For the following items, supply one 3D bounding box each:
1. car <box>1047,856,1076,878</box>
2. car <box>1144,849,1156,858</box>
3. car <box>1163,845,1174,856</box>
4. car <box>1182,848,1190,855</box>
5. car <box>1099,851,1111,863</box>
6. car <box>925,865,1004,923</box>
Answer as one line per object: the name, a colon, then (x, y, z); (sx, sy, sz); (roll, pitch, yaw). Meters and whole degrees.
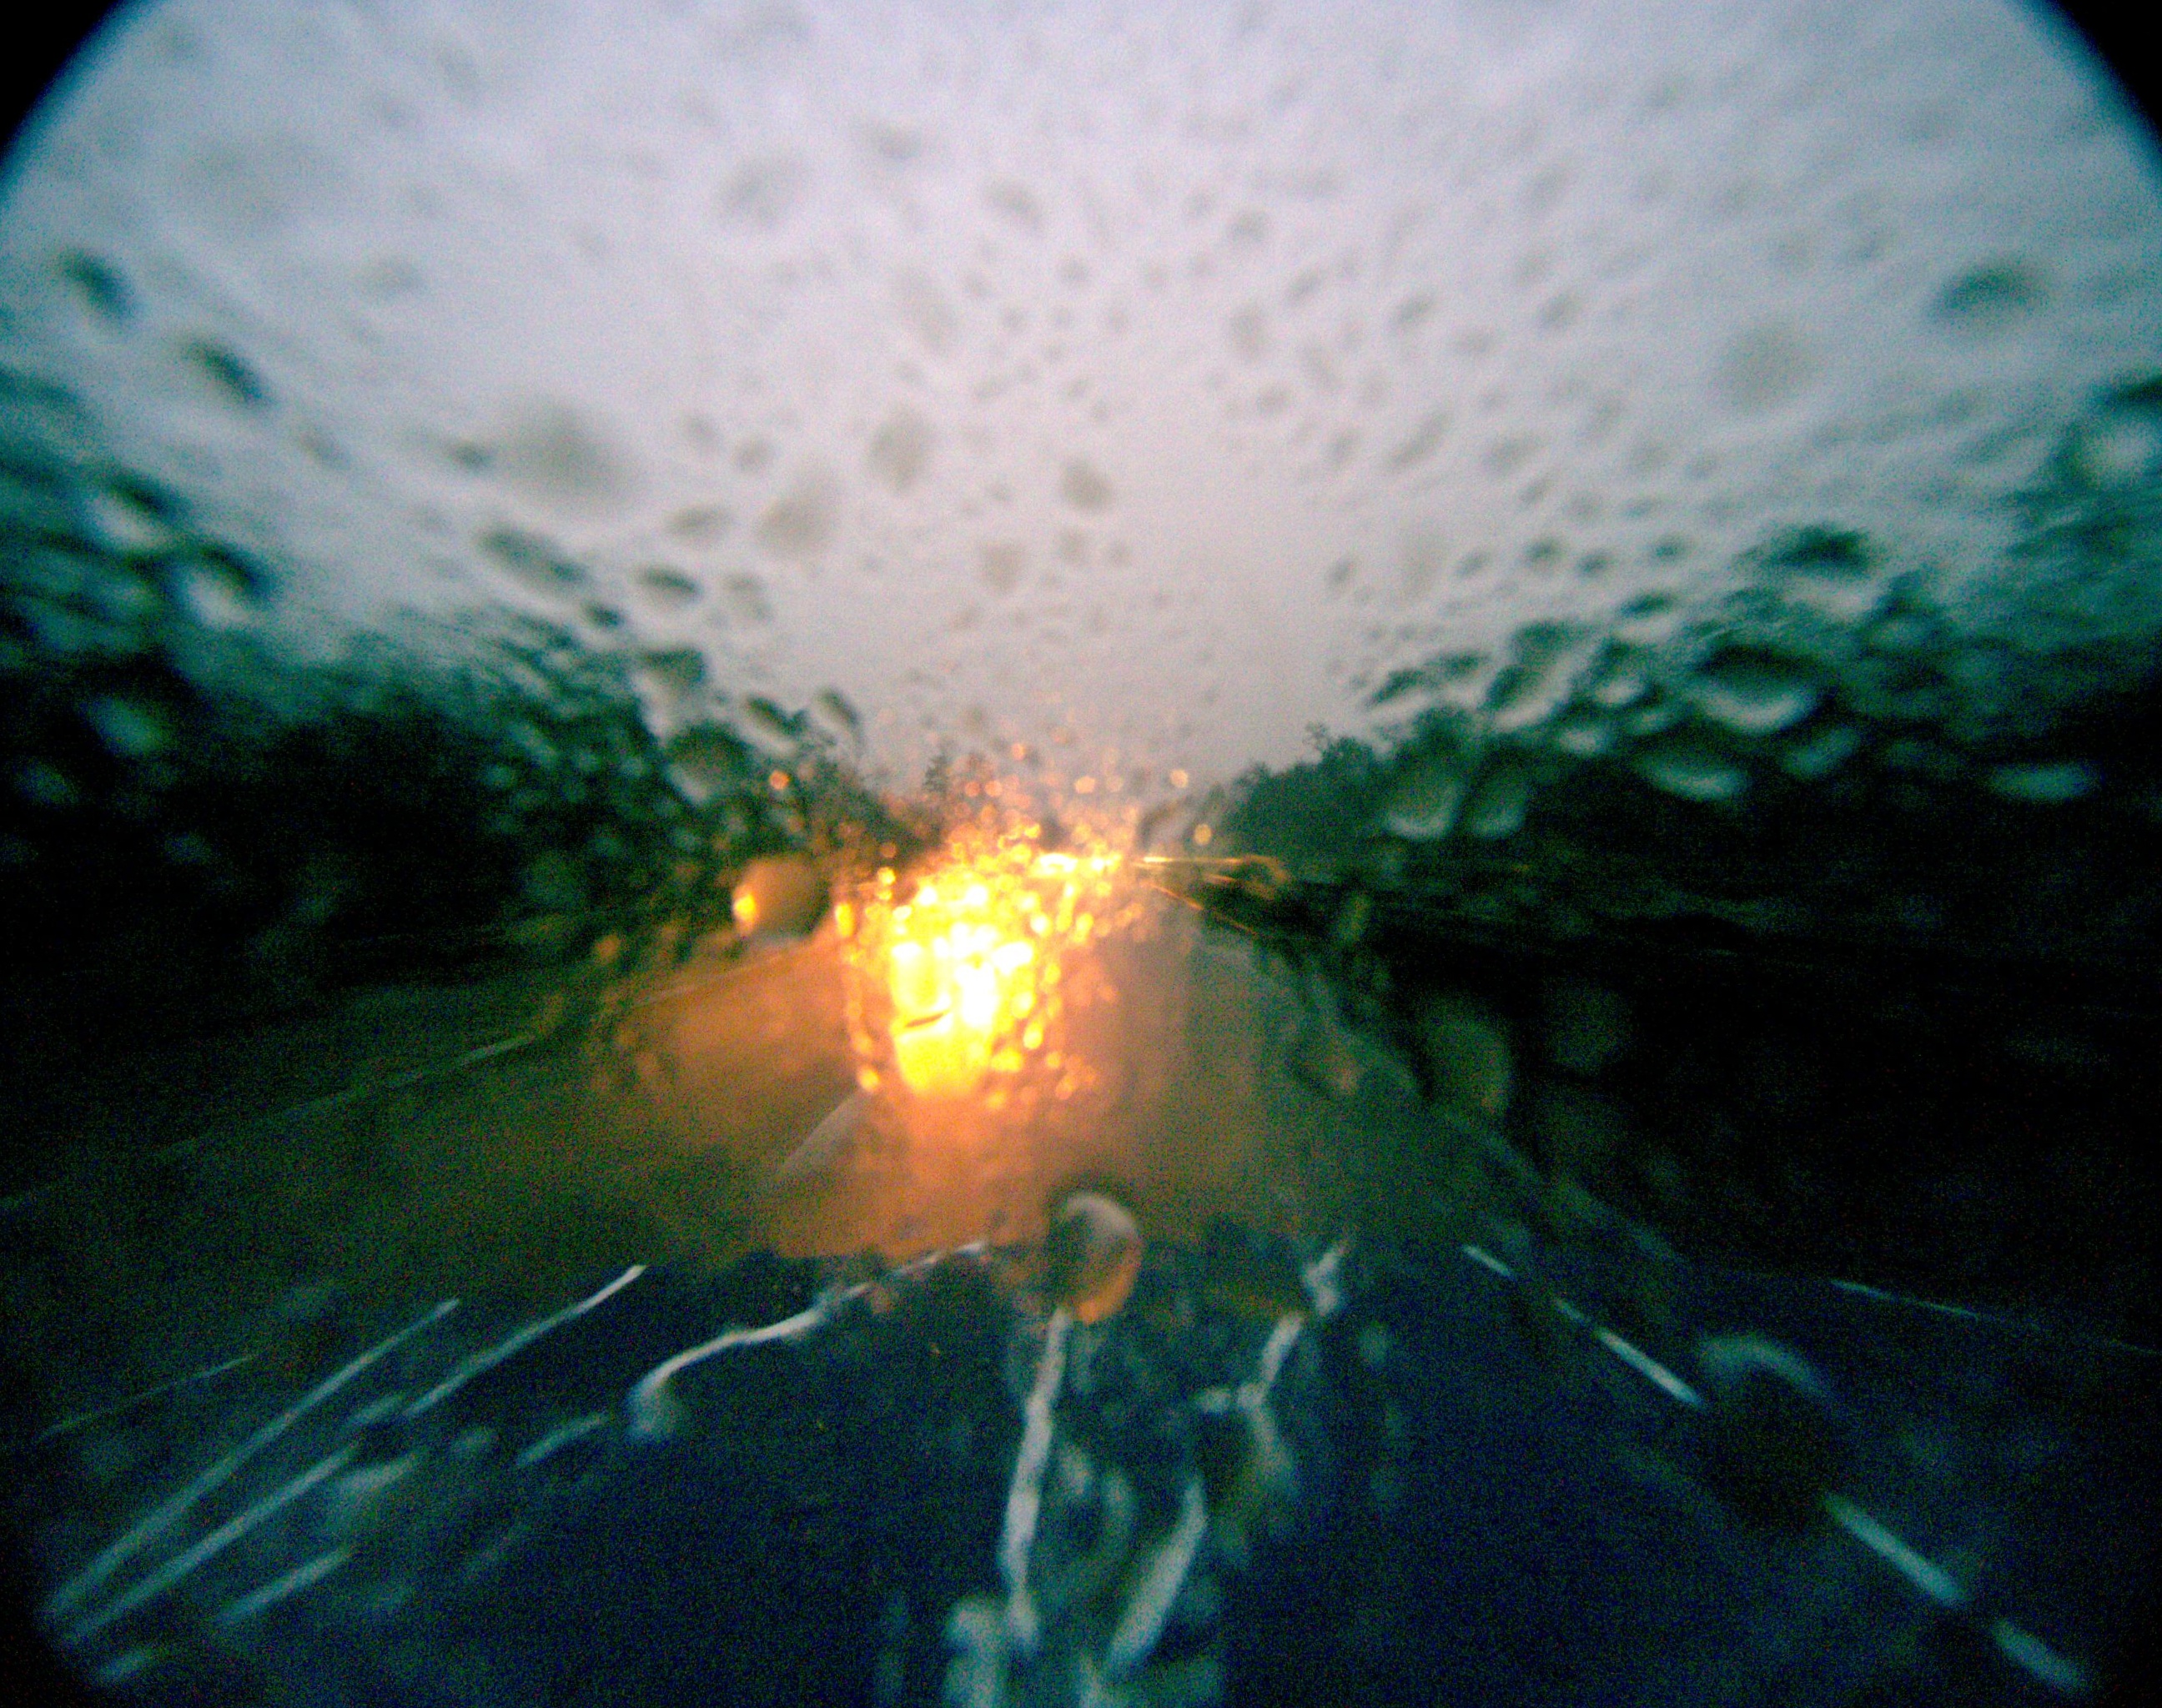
car: (-1.390, 0.900, 55.648); (1.741, 1.441, 4.000); (-2, 1, 2)
car: (12.529, -0.023, 137.518); (1.838, 1.540, 4.529); (-2, 0, 2)
car: (15.922, -0.701, 138.584); (1.682, 1.870, 4.001); (-3, -1, 2)
car: (22.433, -0.454, 162.828); (1.530, 1.408, 3.754); (-2, 1, 6)
car: (3.629, 0.432, 117.041); (1.690, 1.718, 3.787); (-2, 0, 0)
car: (-3.150, 1.060, 21.133); (1.603, 1.358, 3.305); (-2, 0, 0)
